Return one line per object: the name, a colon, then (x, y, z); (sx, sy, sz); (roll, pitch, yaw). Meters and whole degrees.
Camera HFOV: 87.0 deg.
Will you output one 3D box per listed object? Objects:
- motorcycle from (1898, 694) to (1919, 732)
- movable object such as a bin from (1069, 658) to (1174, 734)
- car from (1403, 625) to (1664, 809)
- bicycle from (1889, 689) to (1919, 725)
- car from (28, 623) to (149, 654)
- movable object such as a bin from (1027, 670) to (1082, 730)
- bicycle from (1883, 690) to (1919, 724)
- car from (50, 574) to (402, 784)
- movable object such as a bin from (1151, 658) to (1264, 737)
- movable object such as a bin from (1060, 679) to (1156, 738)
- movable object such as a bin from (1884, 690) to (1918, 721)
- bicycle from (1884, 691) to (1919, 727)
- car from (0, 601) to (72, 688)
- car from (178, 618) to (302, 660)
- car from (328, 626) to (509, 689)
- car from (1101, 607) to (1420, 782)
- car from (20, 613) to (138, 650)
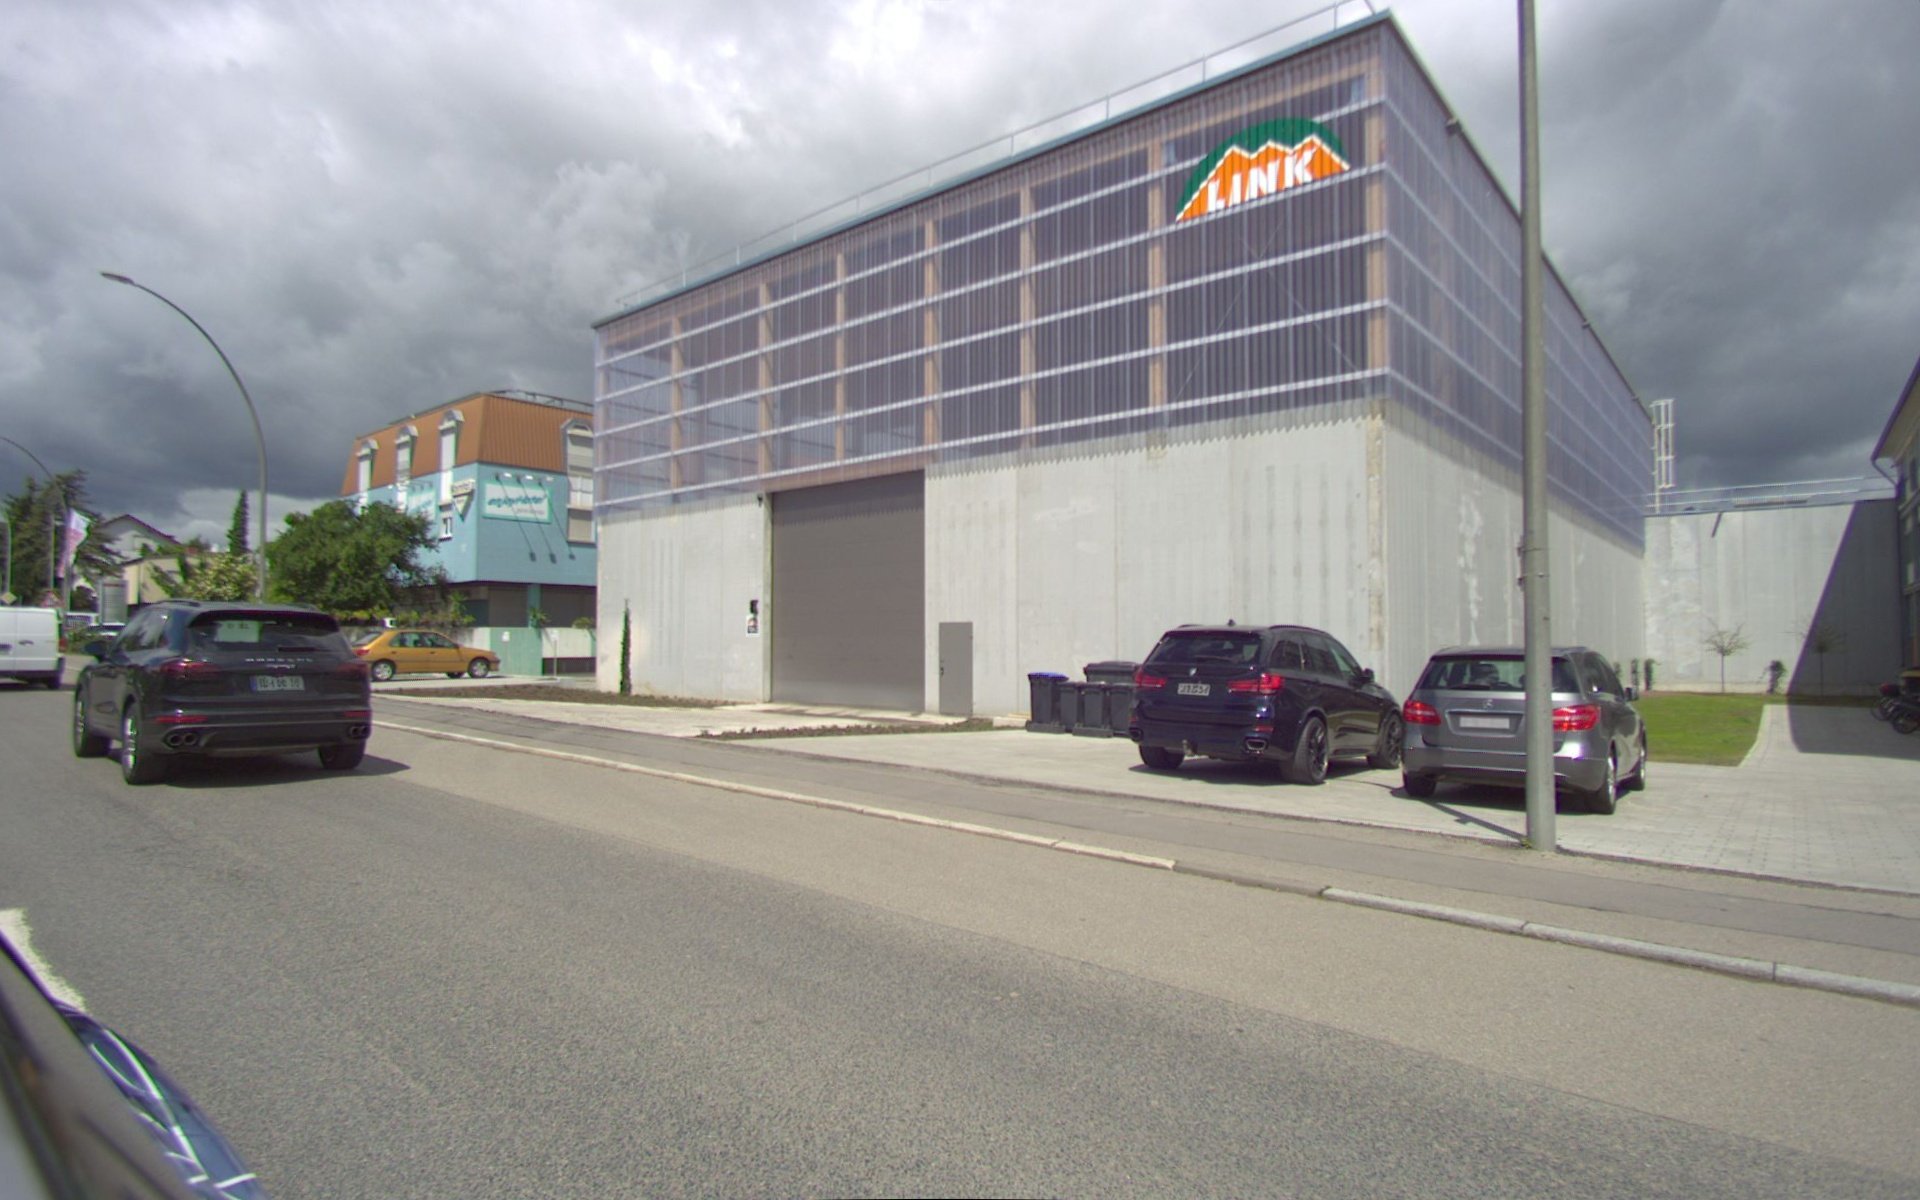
motorcycle: (23.446, 2.710, 24.098); (1.596, 0.862, 0.536); (-2, -1, 41)
movable object such as a bin: (3.203, 1.869, 20.142); (1.818, 1.366, 0.947); (-2, -1, 42)
car: (6.200, 1.168, 10.688); (1.823, 1.517, 4.419); (-2, -6, 37)
bicycle: (24.363, 2.704, 25.335); (1.596, 0.862, 0.390); (-2, -1, 41)
car: (-43.663, 1.922, 50.768); (1.870, 1.489, 4.329); (0, -2, 41)
movable object such as a bin: (1.723, 1.805, 18.443); (0.711, 1.038, 0.735); (-2, -4, 42)
bicycle: (25.756, 2.869, 27.036); (1.596, 0.862, 0.441); (-2, -1, 41)
car: (-7.883, 0.757, 10.704); (4.545, 1.747, 1.973); (-2, -4, 41)
movable object such as a bin: (4.617, 1.794, 18.929); (1.818, 1.366, 0.947); (-2, -4, 42)
movable object such as a bin: (2.579, 1.876, 17.719); (1.518, 0.926, 0.735); (-2, -4, 42)
movable object such as a bin: (26.487, 2.957, 28.482); (0.641, 0.758, 0.811); (-2, -1, 40)
bicycle: (24.748, 2.806, 25.905); (1.596, 0.862, 0.295); (-2, -1, 41)
car: (-22.786, 1.037, 23.892); (5.113, 1.903, 1.973); (-2, -3, 40)
car: (-27.868, 1.502, 39.230); (1.979, 1.544, 3.588); (-2, -3, 43)
car: (-15.078, 1.547, 28.360); (1.823, 1.503, 4.111); (-2, 0, 37)
car: (3.777, 1.108, 12.093); (2.194, 1.645, 4.583); (-2, -6, 37)
car: (-48.984, 1.784, 56.372); (2.112, 1.987, 4.608); (-2, -3, 37)
